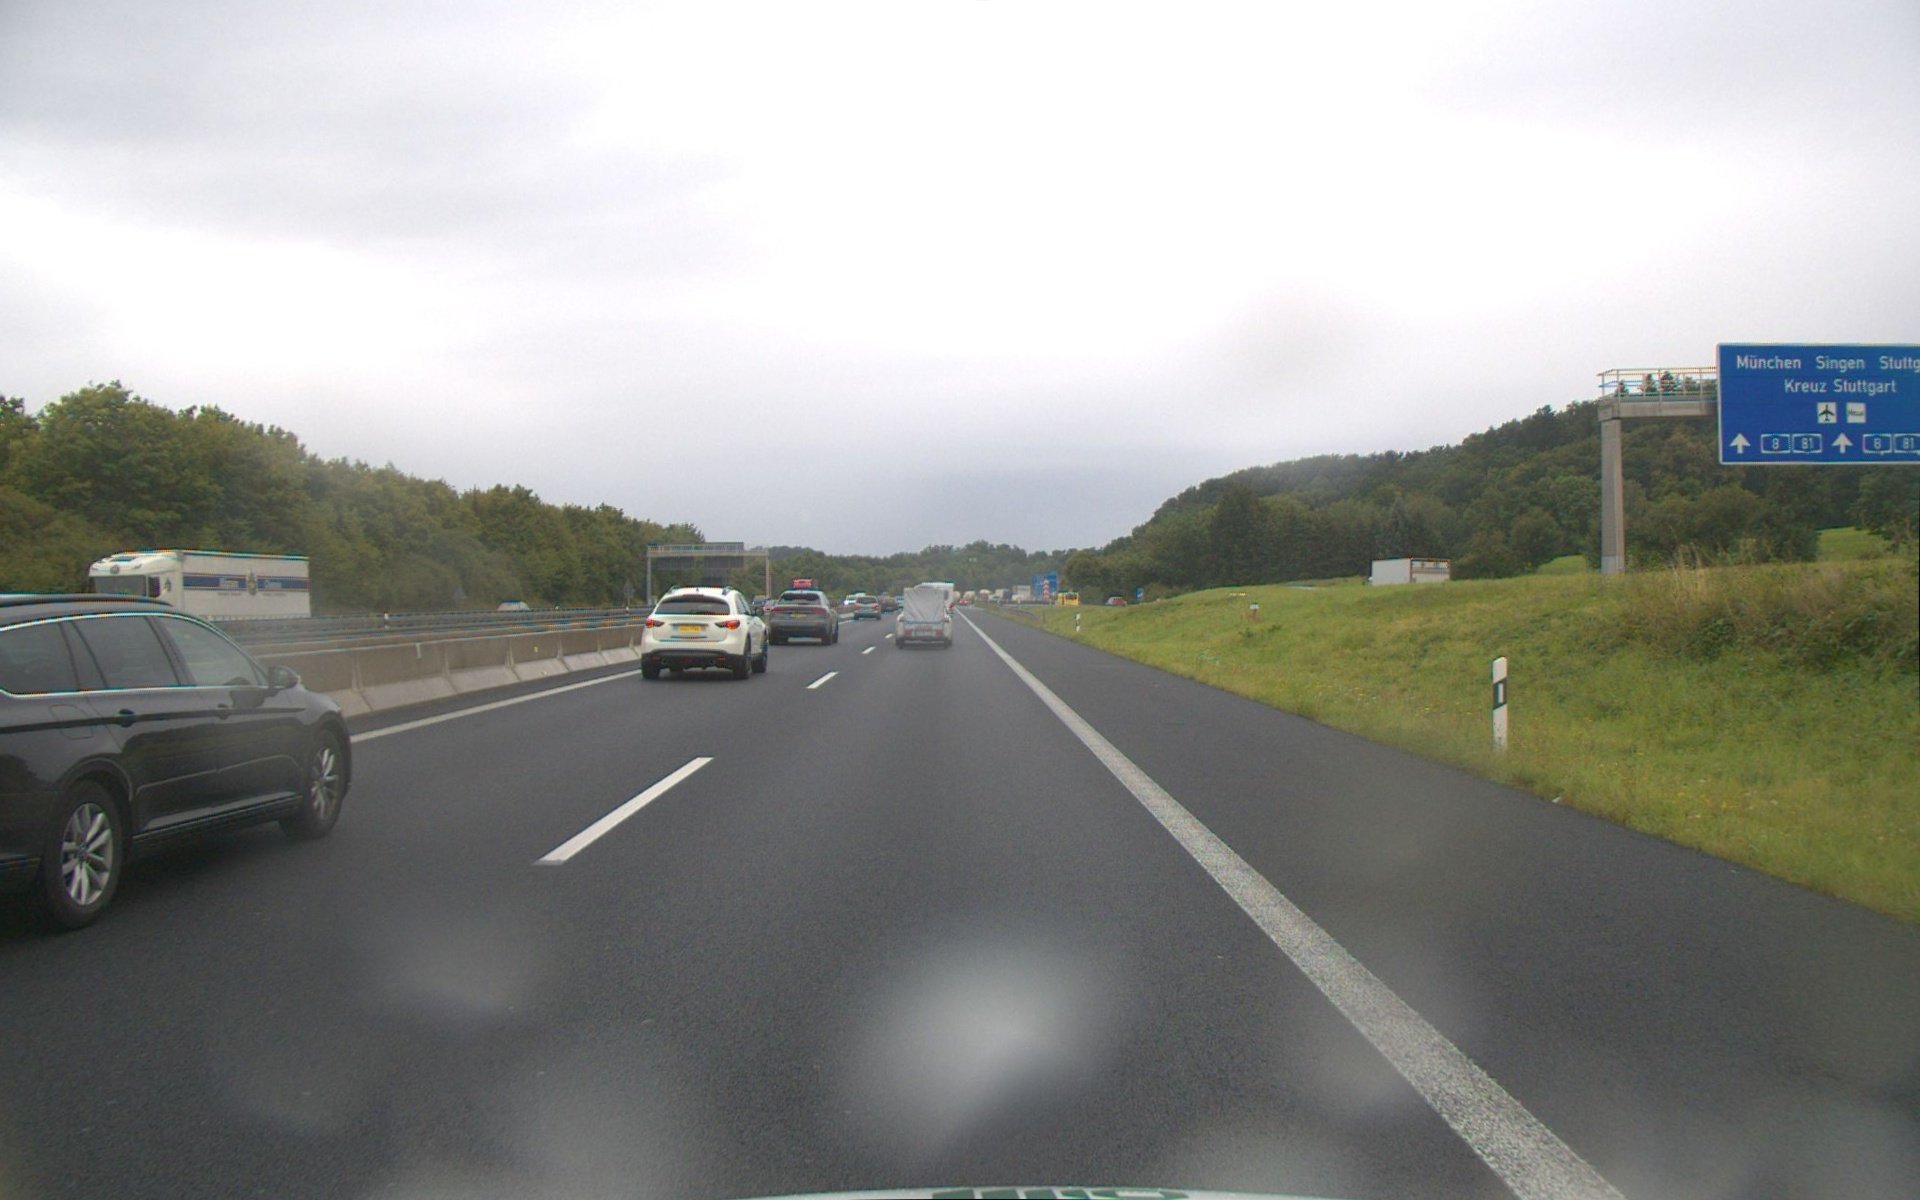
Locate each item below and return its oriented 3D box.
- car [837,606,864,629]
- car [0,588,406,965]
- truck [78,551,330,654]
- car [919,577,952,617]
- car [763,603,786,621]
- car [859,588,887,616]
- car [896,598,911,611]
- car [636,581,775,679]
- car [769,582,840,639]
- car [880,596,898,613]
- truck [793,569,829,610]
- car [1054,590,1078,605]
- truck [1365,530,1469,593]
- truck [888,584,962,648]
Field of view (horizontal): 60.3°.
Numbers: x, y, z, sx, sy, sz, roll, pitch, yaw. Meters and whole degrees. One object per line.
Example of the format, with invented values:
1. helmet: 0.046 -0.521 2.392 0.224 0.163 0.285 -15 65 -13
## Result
1. car: -8.307 1.306 125.387 1.782 1.691 4.016 0 0 -1
2. car: -4.612 0.684 8.609 1.750 1.484 4.803 1 0 1
3. truck: -32.268 0.083 72.067 3.113 3.875 17.133 -1 0 0
4. car: -1.750 -0.202 117.725 2.284 2.773 6.538 0 0 -1
5. car: -17.539 1.131 156.329 1.689 1.580 4.581 1 0 -1
6. car: -5.857 0.148 111.935 1.703 1.825 3.999 1 0 -1
7. car: -6.789 0.535 199.370 1.612 1.601 3.999 1 0 0
8. car: -4.718 0.514 31.260 2.007 1.700 4.540 1 0 -1
9. car: -5.029 0.321 53.971 1.935 1.733 4.801 1 0 -1
10. car: -6.807 0.422 158.599 1.612 1.601 3.999 1 0 0
11. truck: -18.071 -1.284 201.115 3.330 4.816 10.485 1 0 0
12. car: 11.295 -0.283 176.214 1.955 1.579 3.995 1 0 -6
13. truck: 28.896 -2.356 105.045 3.750 3.723 8.264 1 0 -4
14. truck: -1.114 0.455 52.185 2.197 1.871 6.582 0 0 -1
